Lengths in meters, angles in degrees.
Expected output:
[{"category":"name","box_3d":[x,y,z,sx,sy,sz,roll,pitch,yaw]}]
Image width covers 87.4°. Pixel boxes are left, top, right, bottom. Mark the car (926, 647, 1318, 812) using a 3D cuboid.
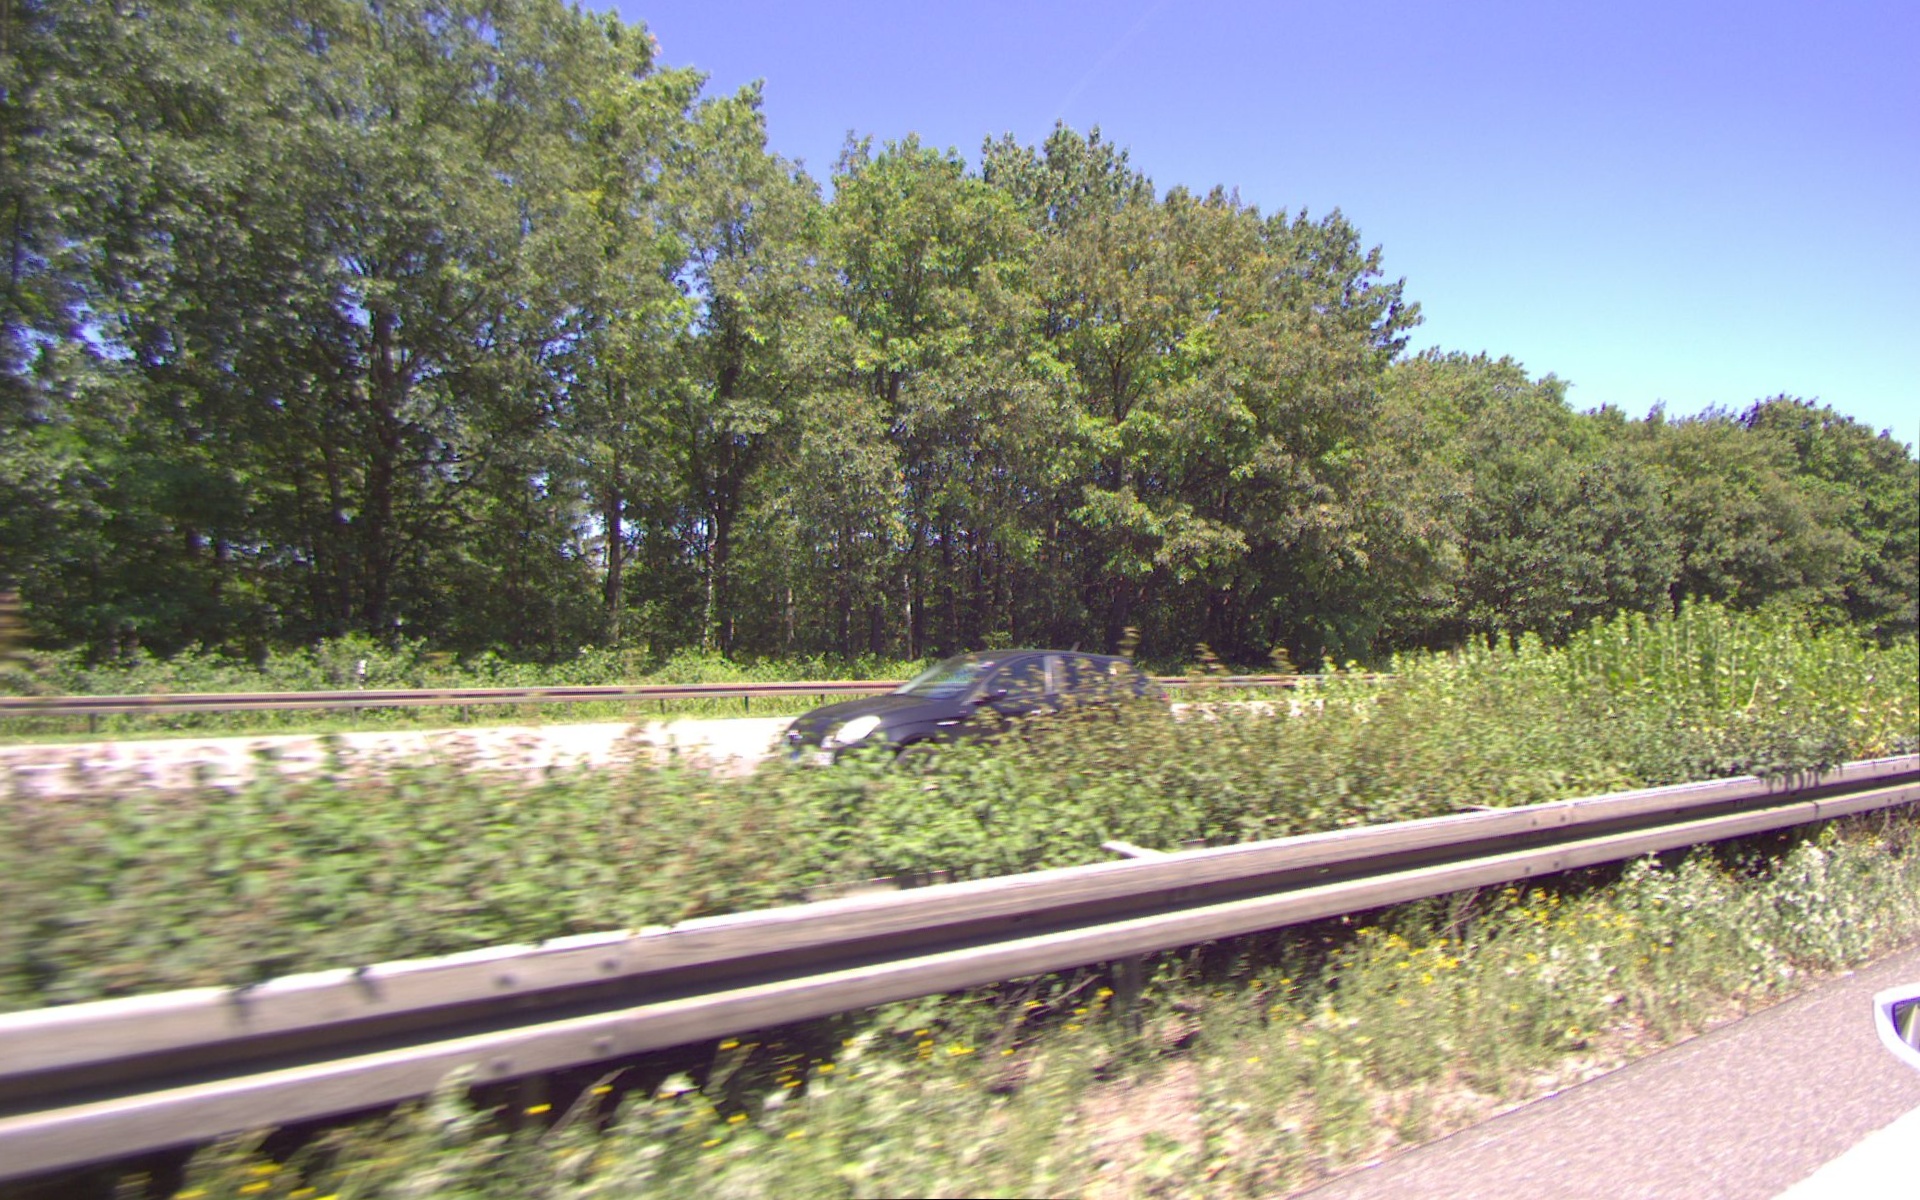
[{"category":"car","box_3d":[1.846,1.281,11.082,4.140,1.503,1.737,2,-2,-30]}]
